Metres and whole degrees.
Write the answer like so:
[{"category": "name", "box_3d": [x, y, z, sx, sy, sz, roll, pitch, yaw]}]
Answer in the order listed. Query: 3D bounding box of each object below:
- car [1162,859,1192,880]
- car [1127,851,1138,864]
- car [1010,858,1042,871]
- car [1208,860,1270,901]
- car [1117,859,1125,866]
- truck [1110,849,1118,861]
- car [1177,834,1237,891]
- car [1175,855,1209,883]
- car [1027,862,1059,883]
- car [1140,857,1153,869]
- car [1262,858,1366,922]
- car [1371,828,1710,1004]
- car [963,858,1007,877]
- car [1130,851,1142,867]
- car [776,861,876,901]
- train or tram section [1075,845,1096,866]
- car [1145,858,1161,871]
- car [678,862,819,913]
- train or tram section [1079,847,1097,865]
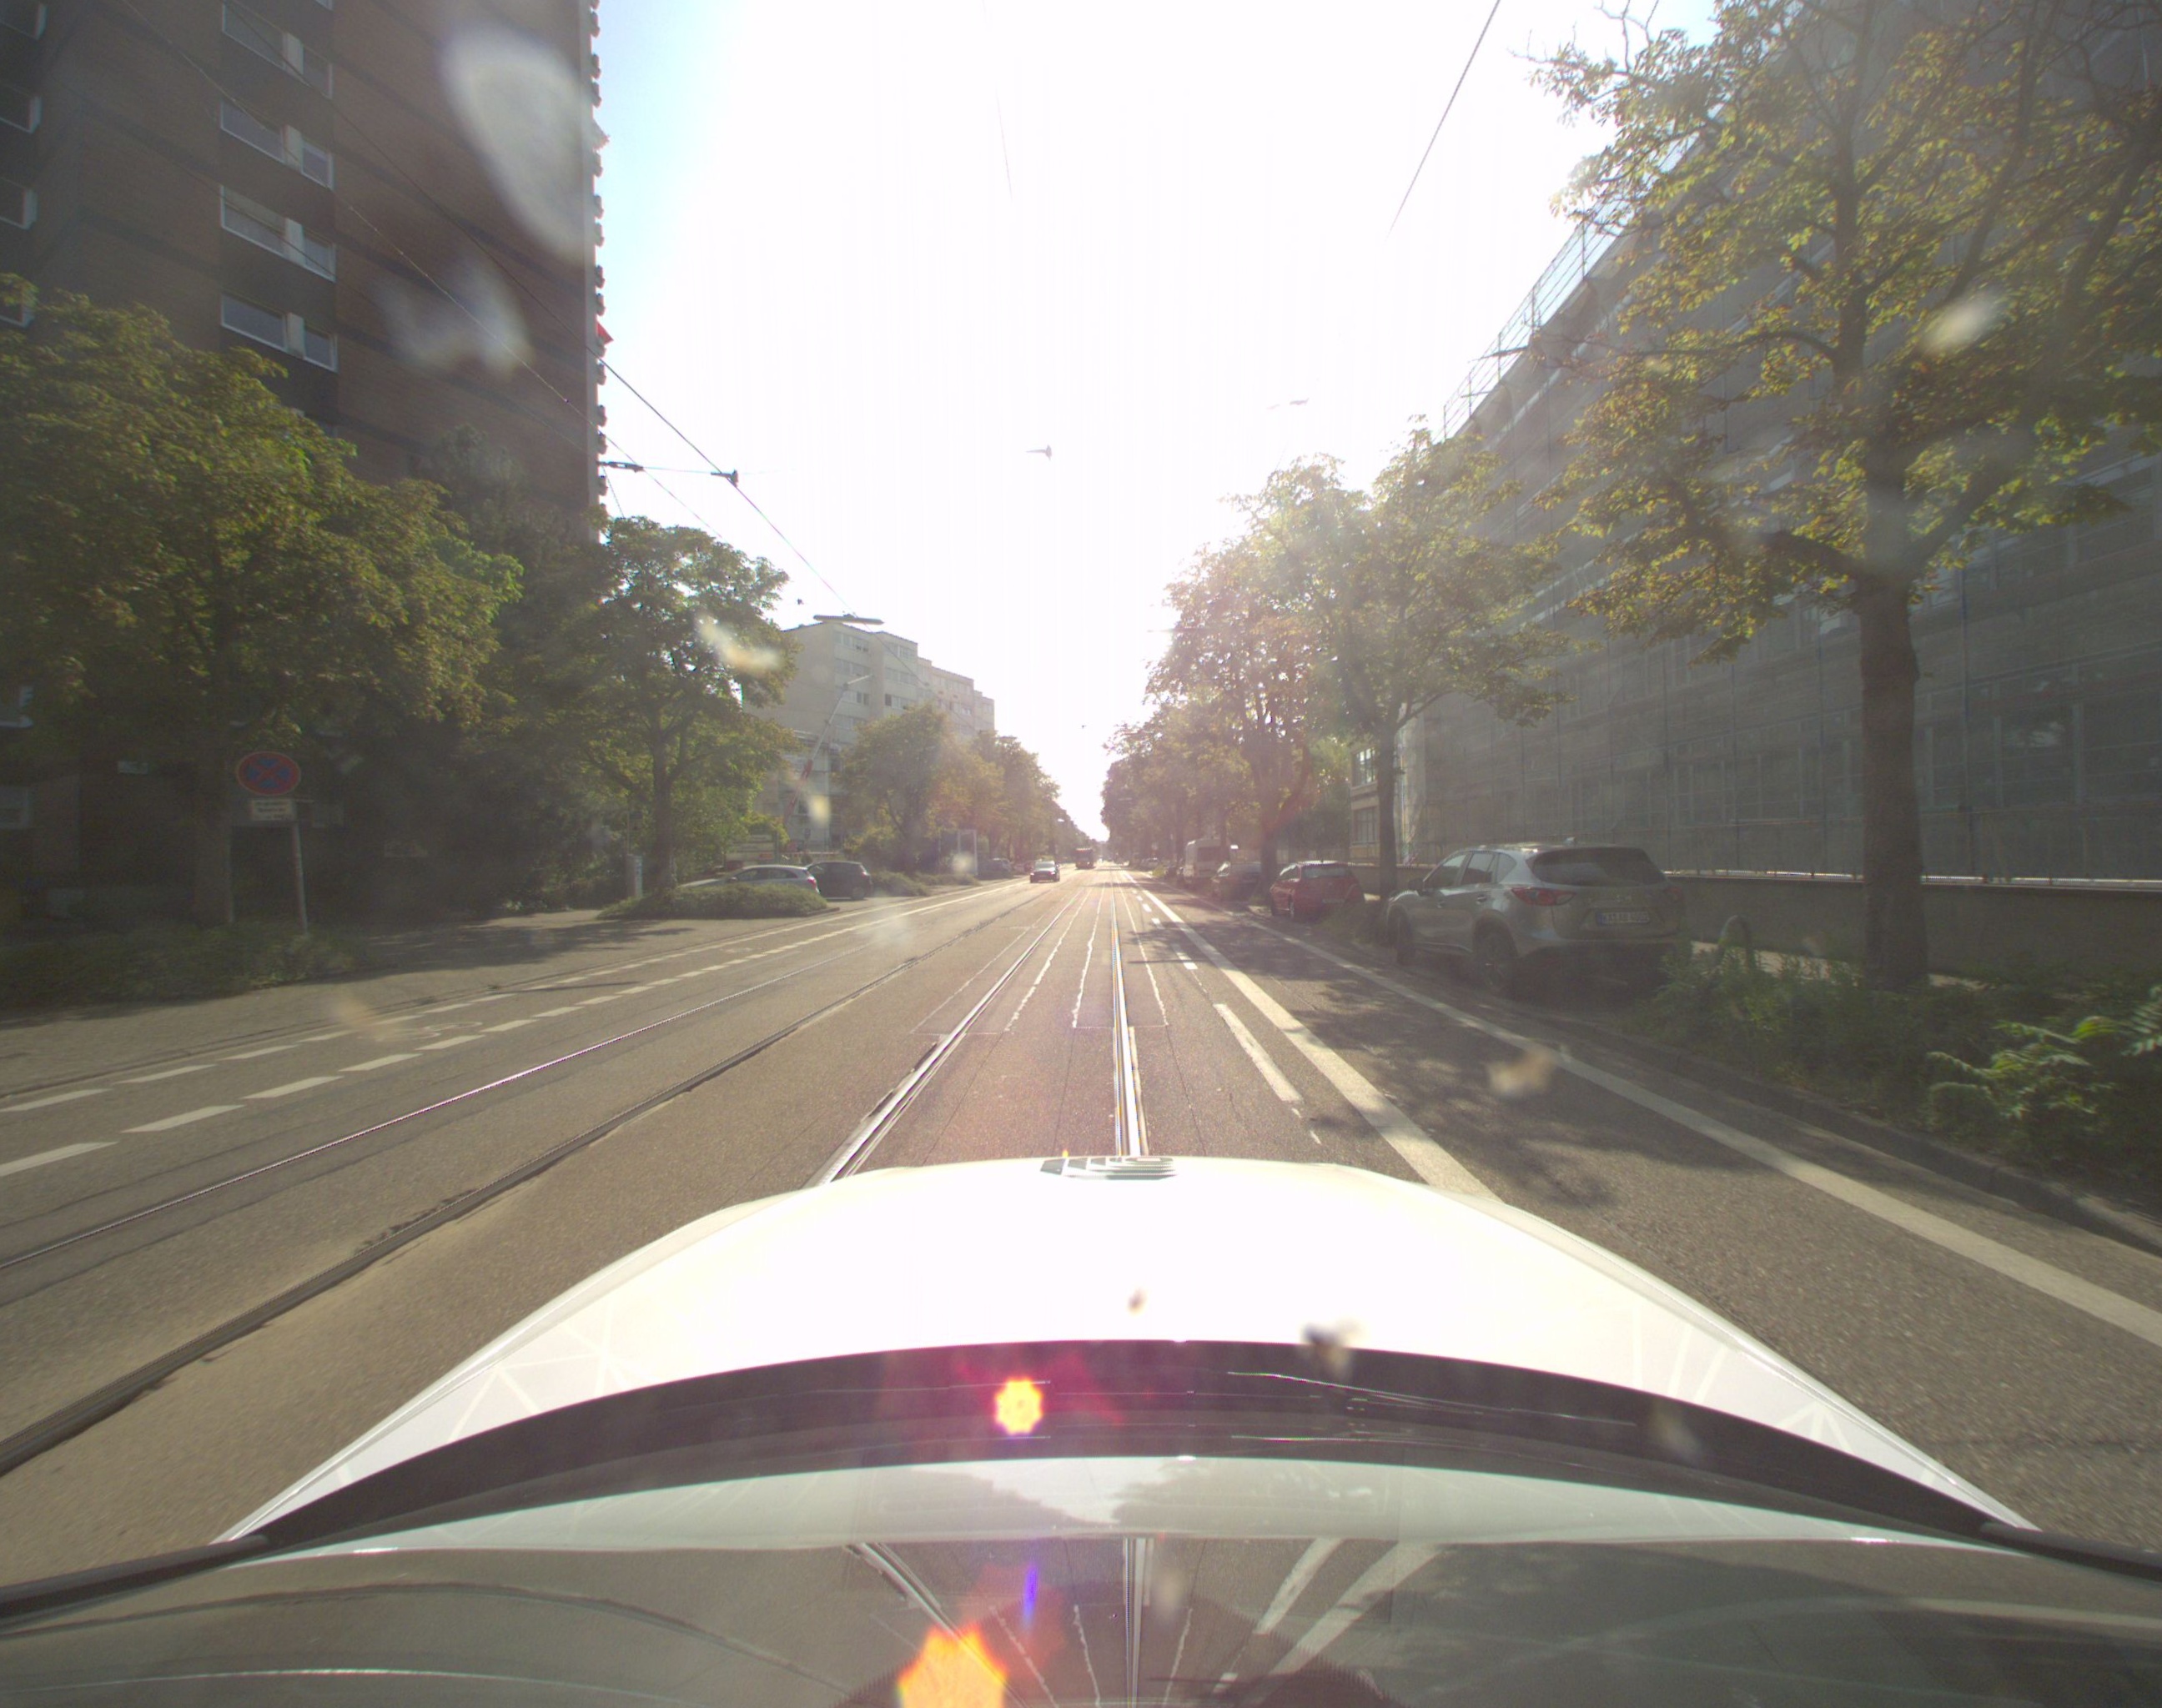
[{"category": "car", "box_3d": [7.078, 1.121, 60.316, 1.747, 1.377, 4.721, -3, 0, 2]}, {"category": "car", "box_3d": [10.302, 0.725, 162.570, 1.996, 2.475, 4.480, -1, 0, 3]}, {"category": "car", "box_3d": [-6.558, 1.254, 97.729, 1.550, 1.443, 3.786, -1, -1, 42]}, {"category": "car", "box_3d": [5.905, 0.943, 30.997, 1.610, 1.374, 4.830, -2, 0, 3]}, {"category": "car", "box_3d": [9.908, 2.099, 202.069, 1.985, 1.838, 4.003, -1, 0, 3]}, {"category": "truck", "box_3d": [9.081, 0.336, 224.316, 1.855, 3.131, 4.352, -1, 0, 0]}, {"category": "car", "box_3d": [6.282, 0.410, 41.242, 2.075, 2.552, 5.501, -4, 0, 1]}, {"category": "car", "box_3d": [6.862, 0.891, 50.663, 1.658, 1.616, 3.879, -2, 0, 2]}, {"category": "car", "box_3d": [-2.548, 1.242, 55.616, 1.822, 1.376, 4.513, -1, 0, 1]}, {"category": "car", "box_3d": [8.649, 1.178, 107.406, 1.588, 1.418, 3.637, -1, 0, 3]}, {"category": "car", "box_3d": [5.795, 0.834, 20.724, 1.610, 1.413, 4.002, -2, 0, 2]}, {"category": "car", "box_3d": [5.270, 0.618, 10.151, 1.747, 1.691, 4.395, -1, 0, 0]}, {"category": "car", "box_3d": [-8.931, 1.262, 76.010, 3.817, 1.621, 1.723, -1, -1, -43]}, {"category": "car", "box_3d": [9.149, 0.880, 135.543, 1.996, 2.490, 4.480, 1, -1, 3]}, {"category": "car", "box_3d": [-10.164, 1.051, 32.418, 3.650, 1.515, 1.609, 0, 0, -24]}, {"category": "train or tram section", "box_3d": [0.747, 0.244, 124.332, 2.718, 2.894, 15.461, -1, -1, 2]}, {"category": "car", "box_3d": [8.300, 1.179, 93.749, 1.683, 1.418, 3.637, -1, 0, 3]}, {"category": "car", "box_3d": [-10.506, 1.003, 25.784, 4.009, 1.479, 1.773, 0, -1, -28]}, {"category": "train or tram section", "box_3d": [1.148, 0.350, 135.365, 2.718, 2.849, 6.546, -1, -1, 2]}]
